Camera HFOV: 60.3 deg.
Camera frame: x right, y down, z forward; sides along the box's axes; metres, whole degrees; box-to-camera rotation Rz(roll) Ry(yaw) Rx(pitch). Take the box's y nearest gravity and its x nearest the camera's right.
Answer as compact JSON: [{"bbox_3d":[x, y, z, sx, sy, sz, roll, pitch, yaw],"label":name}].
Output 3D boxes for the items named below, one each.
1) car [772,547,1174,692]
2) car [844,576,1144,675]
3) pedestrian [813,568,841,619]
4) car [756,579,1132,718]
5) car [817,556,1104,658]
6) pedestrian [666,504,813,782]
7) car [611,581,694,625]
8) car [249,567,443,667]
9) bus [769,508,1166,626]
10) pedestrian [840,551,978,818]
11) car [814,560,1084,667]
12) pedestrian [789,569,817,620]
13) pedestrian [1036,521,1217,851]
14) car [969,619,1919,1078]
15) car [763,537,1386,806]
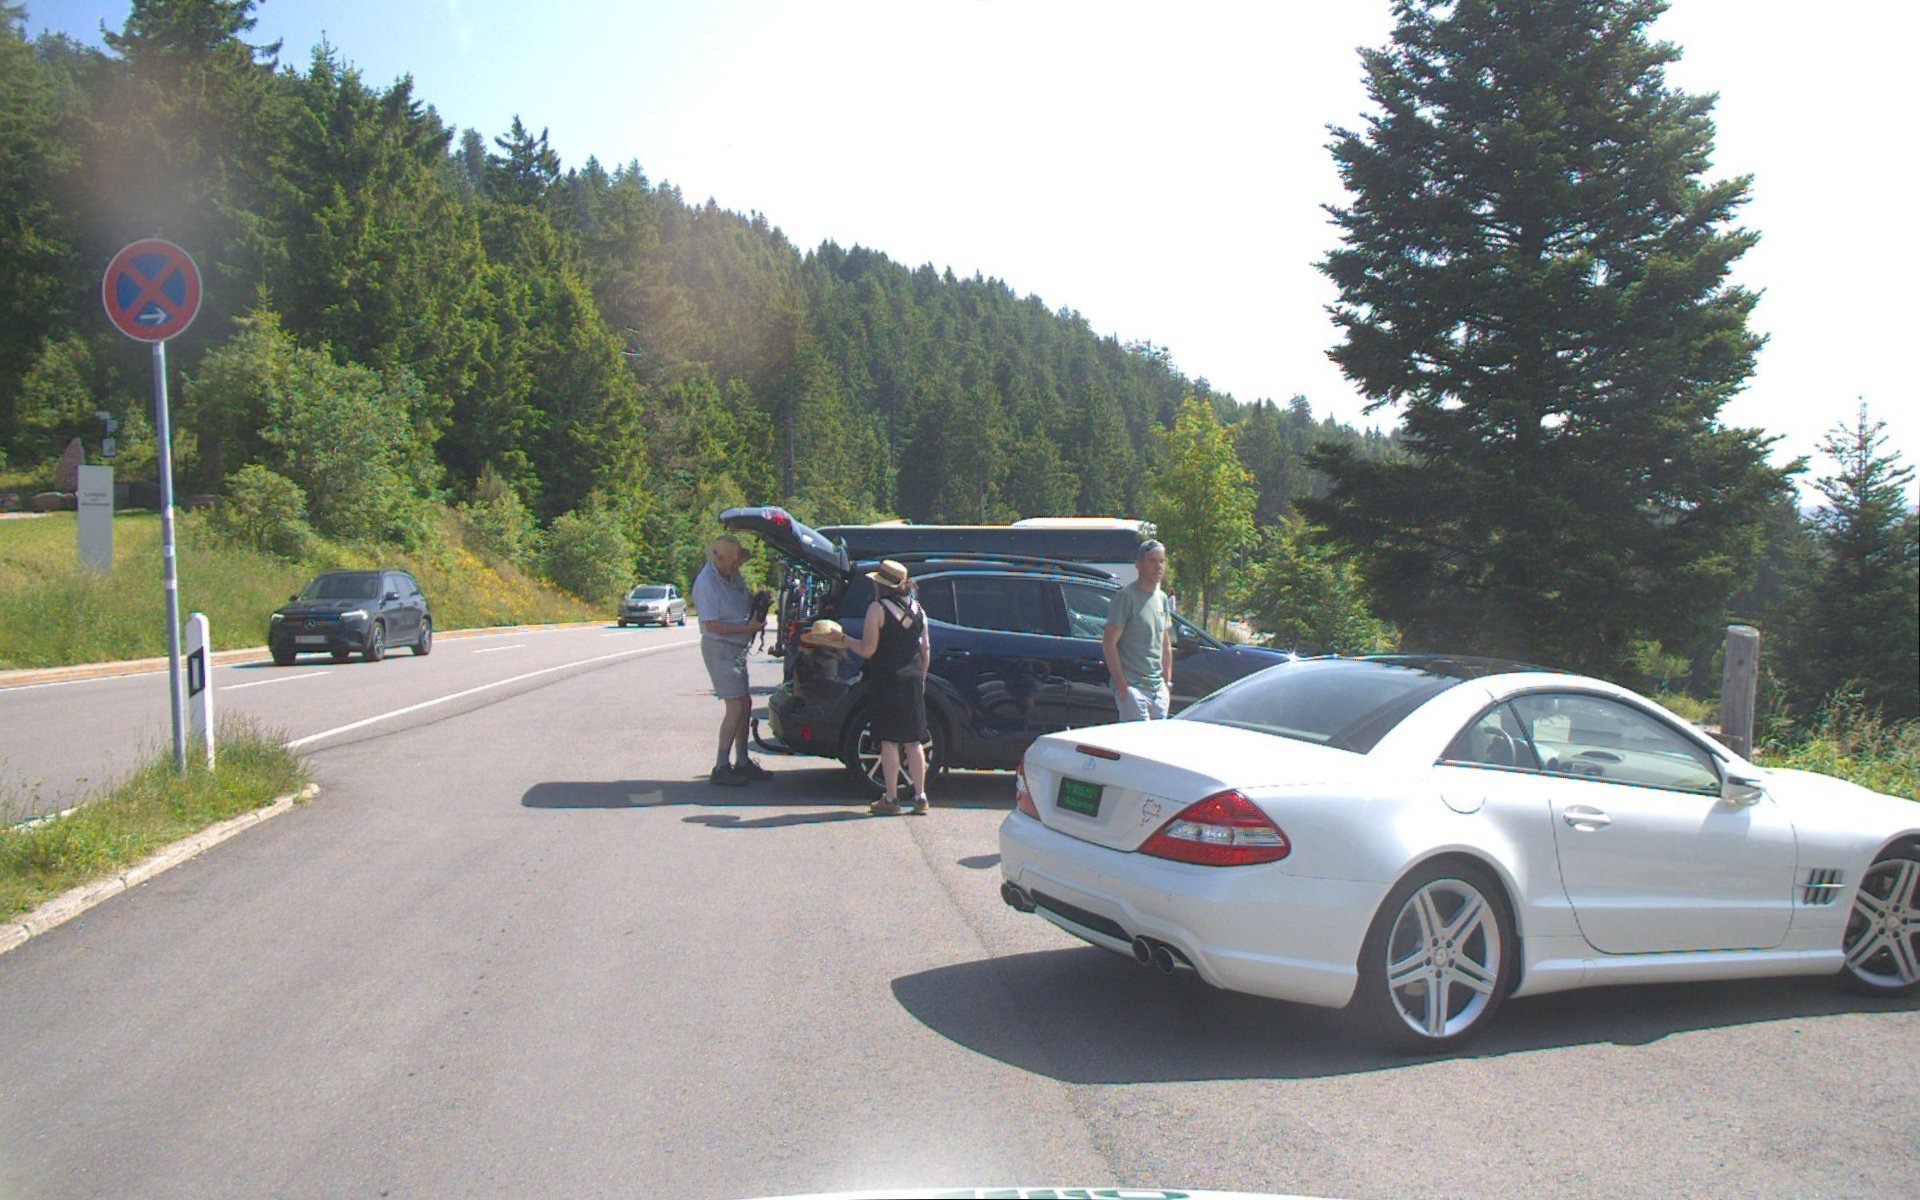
[{"bbox_3d":[0.148,0.219,20.932,4.848,1.725,1.945,0,1,-1],"label":"car"},{"bbox_3d":[0.436,0.339,23.839,4.159,1.291,1.837,-1,1,-3],"label":"car"},{"bbox_3d":[-4.233,-0.201,52.802,0.754,1.613,0.773,-1,0,3],"label":"pedestrian"},{"bbox_3d":[-0.235,0.527,18.688,4.007,1.400,1.698,2,0,-10],"label":"car"},{"bbox_3d":[-0.030,0.096,29.618,4.934,1.680,2.047,-1,1,-3],"label":"car"},{"bbox_3d":[-1.579,0.277,11.900,0.721,1.903,0.757,3,3,27],"label":"pedestrian"},{"bbox_3d":[-10.893,0.066,58.834,1.840,1.500,4.716,0,1,3],"label":"car"},{"bbox_3d":[-11.233,0.257,30.620,1.953,1.676,4.566,-1,1,-2],"label":"car"},{"bbox_3d":[0.341,-1.053,54.848,12.815,3.594,3.046,-1,1,7],"label":"bus"},{"bbox_3d":[-0.328,0.523,10.550,0.704,1.641,0.533,1,-1,-24],"label":"pedestrian"},{"bbox_3d":[-0.208,0.193,26.488,4.159,1.581,1.837,-1,1,-3],"label":"car"},{"bbox_3d":[-5.021,-0.186,52.856,0.754,1.613,0.773,-1,0,3],"label":"pedestrian"},{"bbox_3d":[0.974,0.482,9.702,0.740,1.831,0.727,2,-1,-35],"label":"pedestrian"},{"bbox_3d":[2.372,0.838,6.791,4.344,1.318,1.741,2,1,-27],"label":"car"},{"bbox_3d":[0.742,0.517,12.280,4.263,1.654,1.866,3,-1,-9],"label":"car"}]
